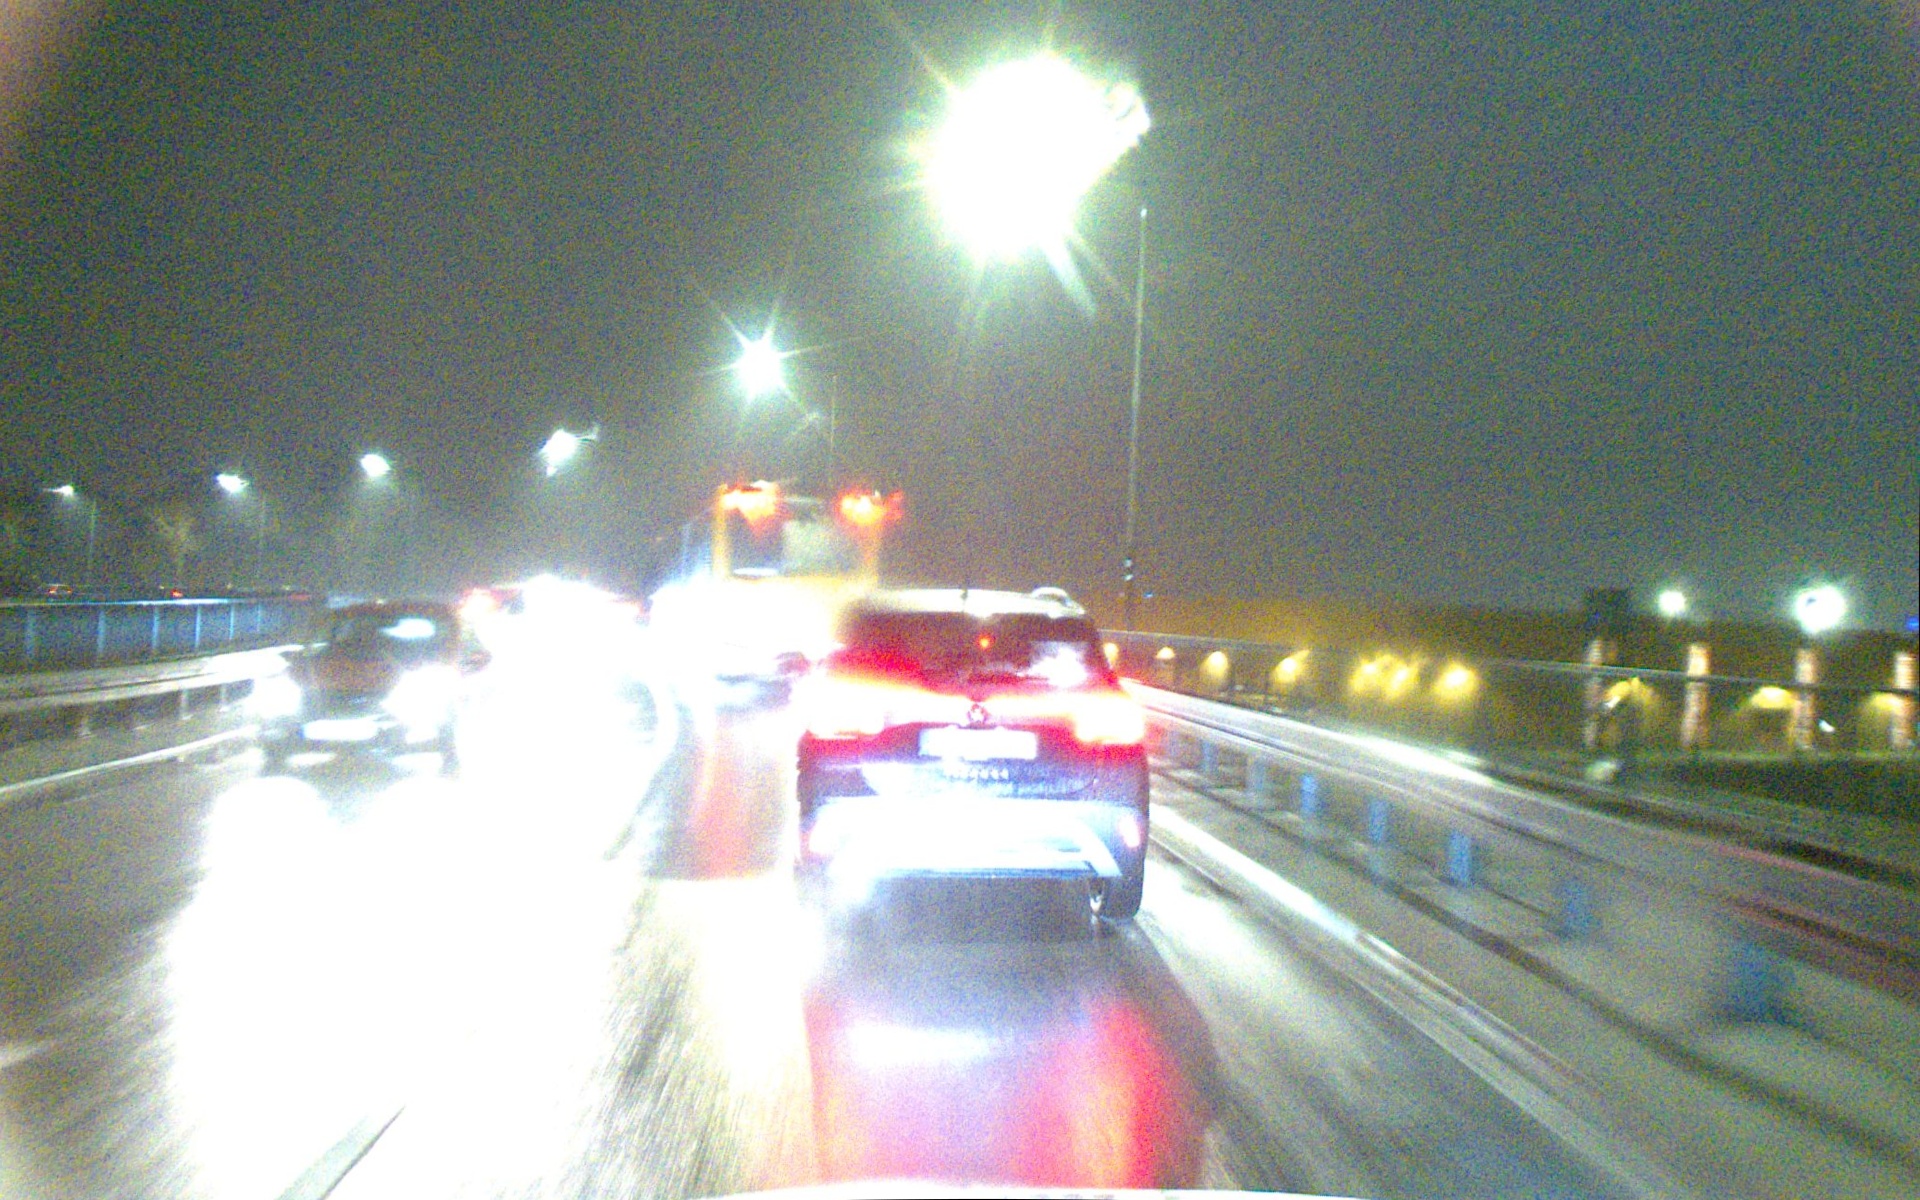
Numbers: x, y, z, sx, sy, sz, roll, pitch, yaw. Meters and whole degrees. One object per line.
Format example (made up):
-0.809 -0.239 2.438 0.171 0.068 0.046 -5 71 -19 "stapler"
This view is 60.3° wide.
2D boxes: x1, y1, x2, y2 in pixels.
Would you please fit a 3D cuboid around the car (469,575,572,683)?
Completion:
-8.370 0.510 31.773 1.723 1.893 3.987 -1 0 -13 "car"

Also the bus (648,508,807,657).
-5.771 -0.419 39.849 2.997 3.186 8.050 1 1 -14 "bus"

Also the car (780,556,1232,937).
0.006 0.647 9.139 1.821 1.614 3.992 1 0 -8 "car"

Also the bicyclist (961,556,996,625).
0.369 -0.190 33.358 0.445 1.373 0.761 2 0 -18 "bicyclist"

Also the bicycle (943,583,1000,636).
0.223 0.187 33.766 0.477 1.052 2.160 1 0 -19 "bicycle"

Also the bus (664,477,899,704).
-3.630 -0.181 29.768 3.029 3.187 12.661 0 0 -11 "bus"

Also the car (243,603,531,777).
-5.395 0.765 16.115 1.780 1.428 4.043 0 1 -6 "car"

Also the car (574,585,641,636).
-12.467 0.379 58.383 1.614 1.684 3.683 -2 -1 -23 "car"
